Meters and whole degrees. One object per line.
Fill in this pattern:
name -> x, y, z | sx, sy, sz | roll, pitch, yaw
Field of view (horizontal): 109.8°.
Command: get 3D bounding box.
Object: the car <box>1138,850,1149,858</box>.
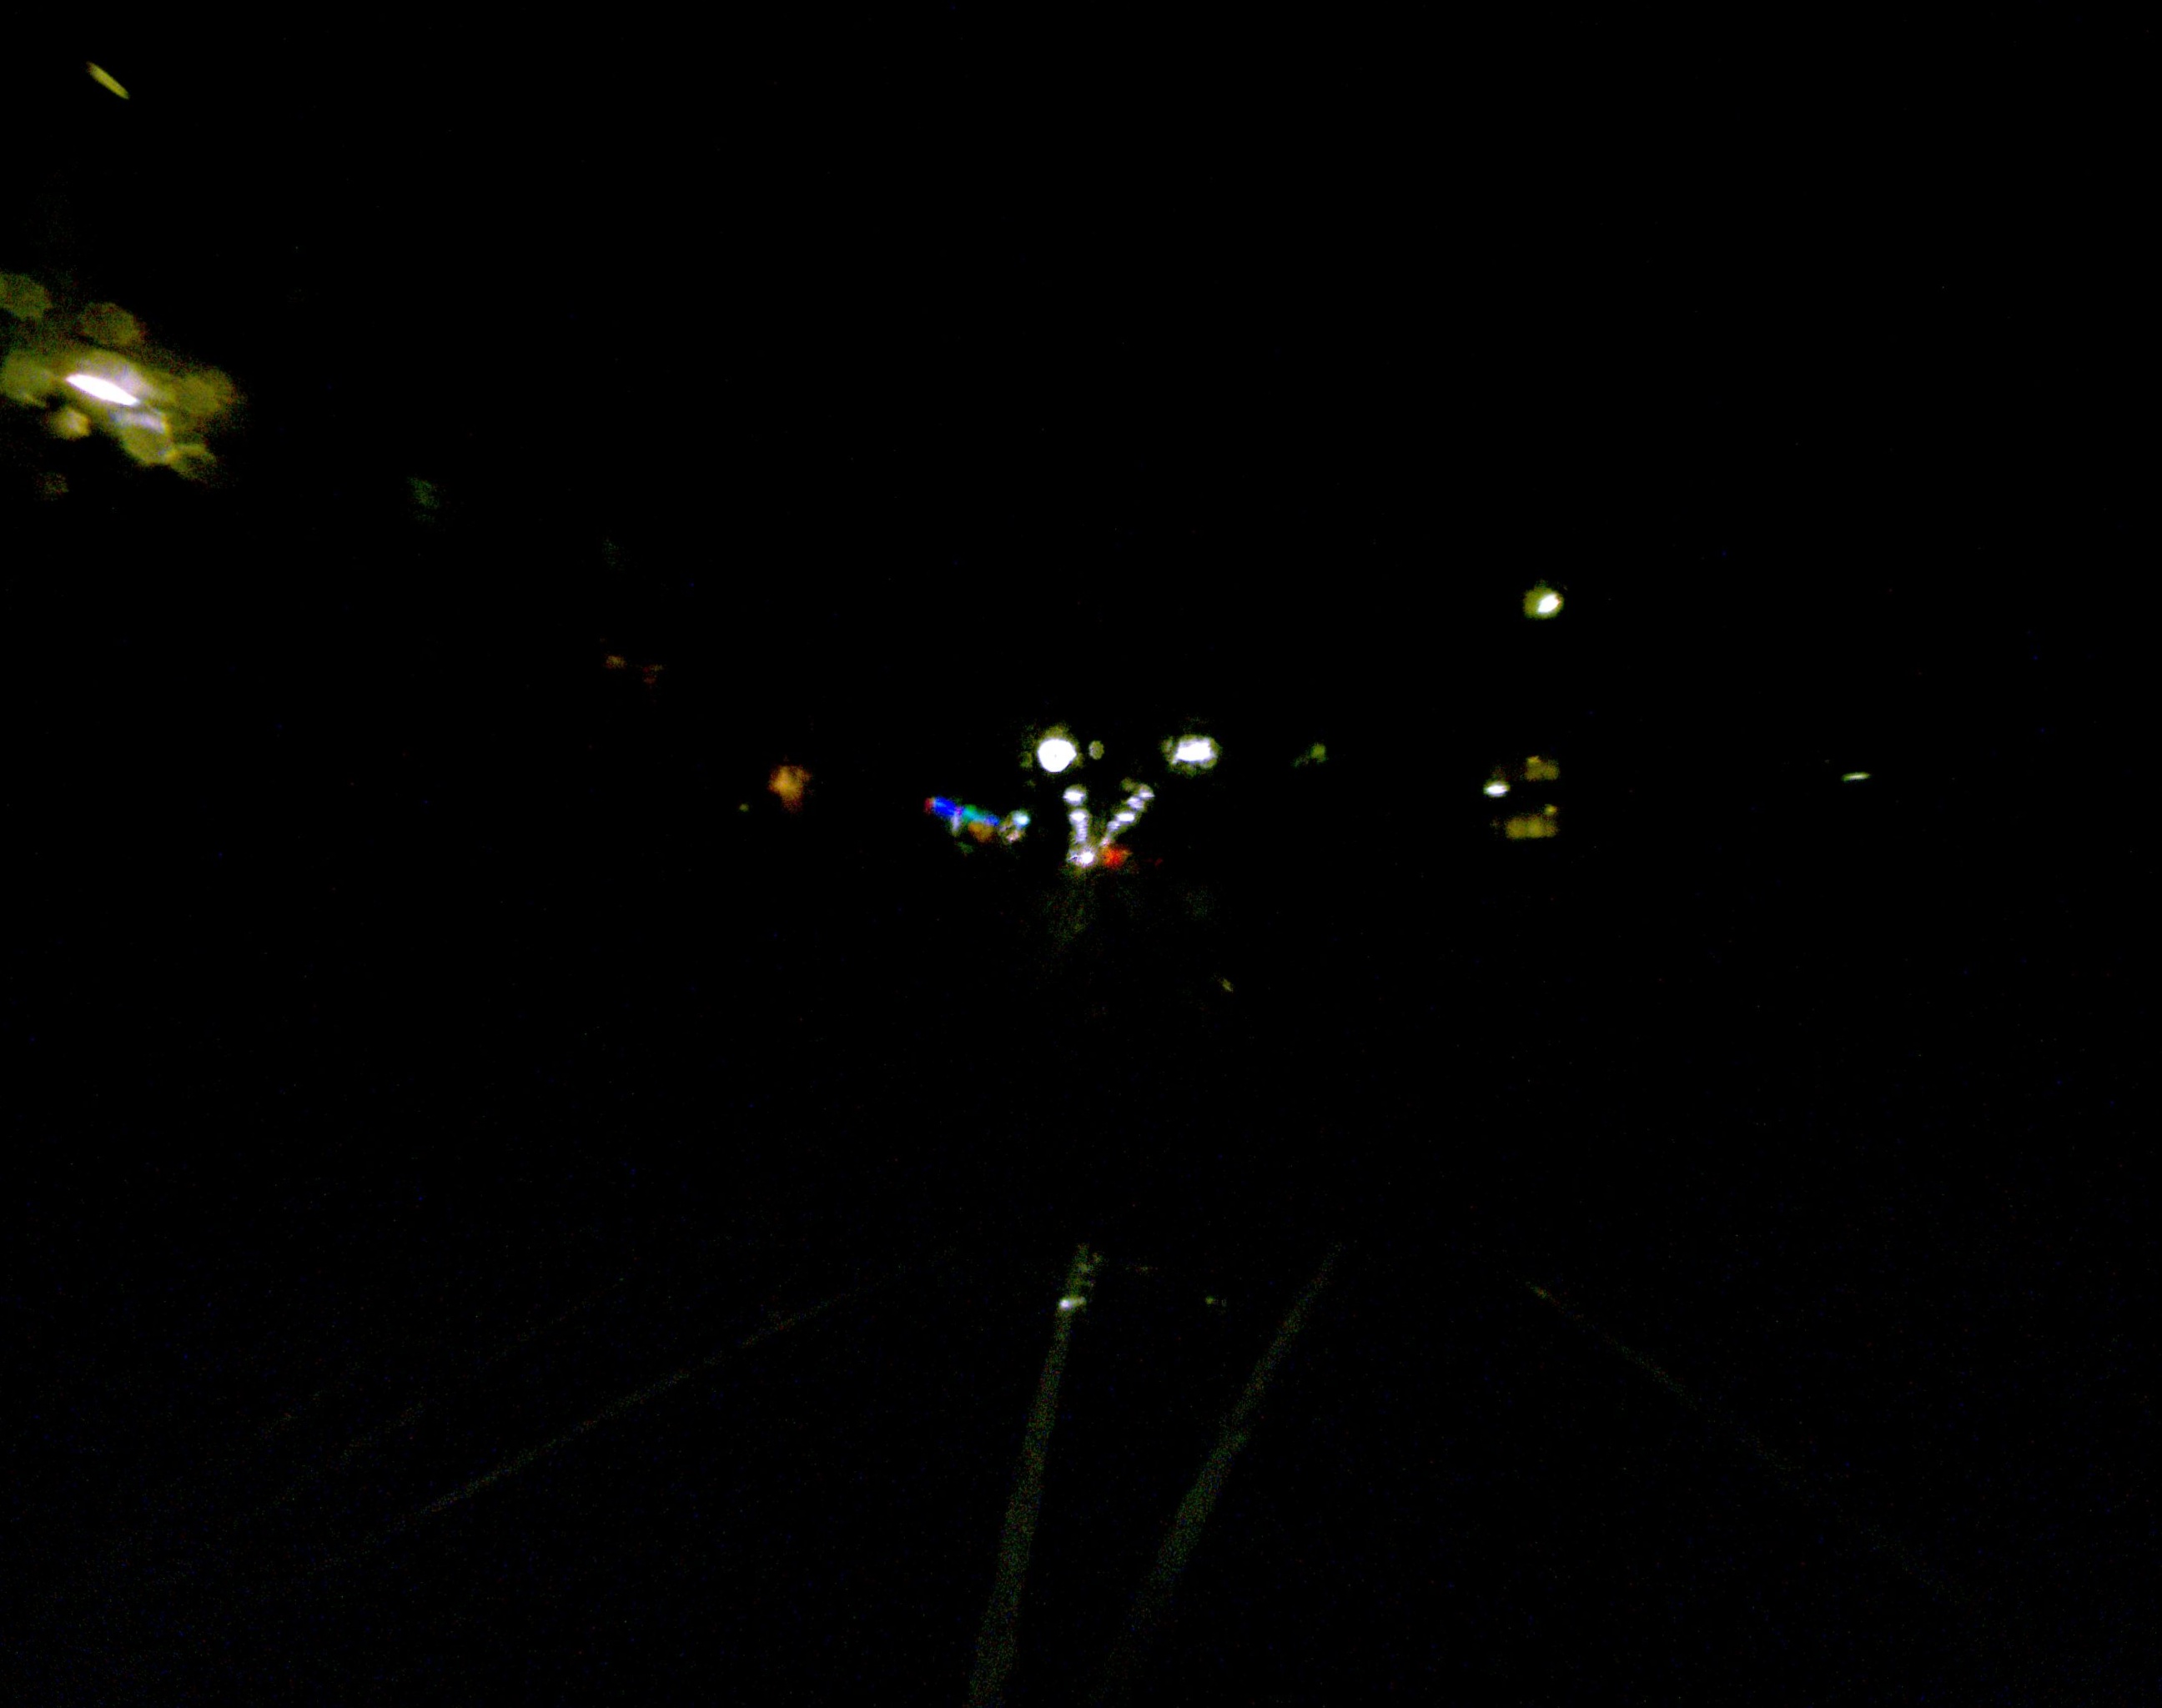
car -> 11.501, -0.013, 139.761 | 1.735, 1.430, 4.625 | -1, 1, 1

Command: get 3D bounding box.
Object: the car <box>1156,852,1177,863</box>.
car -> 11.209, 0.461, 100.152 | 1.893, 1.454, 4.958 | 0, 1, -3

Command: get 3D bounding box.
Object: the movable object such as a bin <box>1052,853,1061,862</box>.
movable object such as a bin -> -3.659, 0.539, 112.556 | 1.326, 1.400, 1.159 | 1, 1, -4

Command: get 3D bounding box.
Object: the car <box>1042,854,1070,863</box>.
car -> -4.315, 0.786, 131.699 | 4.604, 1.467, 1.837 | 0, 0, -19

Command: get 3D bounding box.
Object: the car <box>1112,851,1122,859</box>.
car -> 6.950, 0.125, 145.809 | 1.780, 1.509, 4.051 | -1, 0, 1

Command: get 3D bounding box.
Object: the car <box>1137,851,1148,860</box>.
car -> 12.160, 0.237, 151.423 | 1.814, 1.569, 4.353 | -4, 0, 1

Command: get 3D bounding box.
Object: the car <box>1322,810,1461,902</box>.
car -> 9.853, 0.074, 24.833 | 2.190, 2.576, 6.393 | -1, 0, 3

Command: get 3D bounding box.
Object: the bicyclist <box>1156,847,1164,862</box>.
bicyclist -> 8.992, 0.048, 86.202 | 0.784, 1.646, 1.206 | 1, 1, 1

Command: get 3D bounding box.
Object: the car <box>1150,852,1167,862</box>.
car -> 11.217, 0.420, 110.595 | 1.845, 1.415, 4.208 | 0, 1, -2

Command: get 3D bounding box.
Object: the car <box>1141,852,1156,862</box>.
car -> 10.600, 0.445, 120.074 | 1.778, 1.432, 4.606 | 0, 1, -3

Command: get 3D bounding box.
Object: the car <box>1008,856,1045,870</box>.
car -> -6.743, 1.074, 93.684 | 4.111, 1.528, 1.956 | -2, 1, -24

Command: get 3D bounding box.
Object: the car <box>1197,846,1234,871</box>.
car -> 9.841, 0.282, 55.833 | 1.974, 1.646, 4.601 | -3, 1, 2

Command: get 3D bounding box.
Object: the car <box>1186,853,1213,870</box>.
car -> 10.402, 0.626, 66.852 | 1.695, 1.413, 3.913 | 0, 0, -2

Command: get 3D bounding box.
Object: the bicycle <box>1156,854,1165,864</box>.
bicycle -> 8.987, 0.570, 86.216 | 0.784, 1.076, 1.918 | 1, 1, 1

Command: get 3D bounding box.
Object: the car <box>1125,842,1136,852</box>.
car -> 12.634, -1.742, 193.843 | 2.248, 2.494, 5.259 | -3, 1, -2

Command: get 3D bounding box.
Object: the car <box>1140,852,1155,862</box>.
car -> 11.579, 0.472, 131.679 | 2.149, 1.610, 4.589 | -3, 1, 1

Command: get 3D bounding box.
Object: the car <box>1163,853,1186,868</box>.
car -> 10.821, 0.688, 87.793 | 1.885, 1.536, 4.398 | -4, 1, -2

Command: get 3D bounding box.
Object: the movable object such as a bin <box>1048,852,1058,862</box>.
movable object such as a bin -> -4.083, 0.467, 110.296 | 1.371, 1.414, 1.073 | 1, 1, 6

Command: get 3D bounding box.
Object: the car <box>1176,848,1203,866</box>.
car -> 10.558, 0.283, 74.110 | 1.988, 1.622, 4.516 | -1, 1, 1
